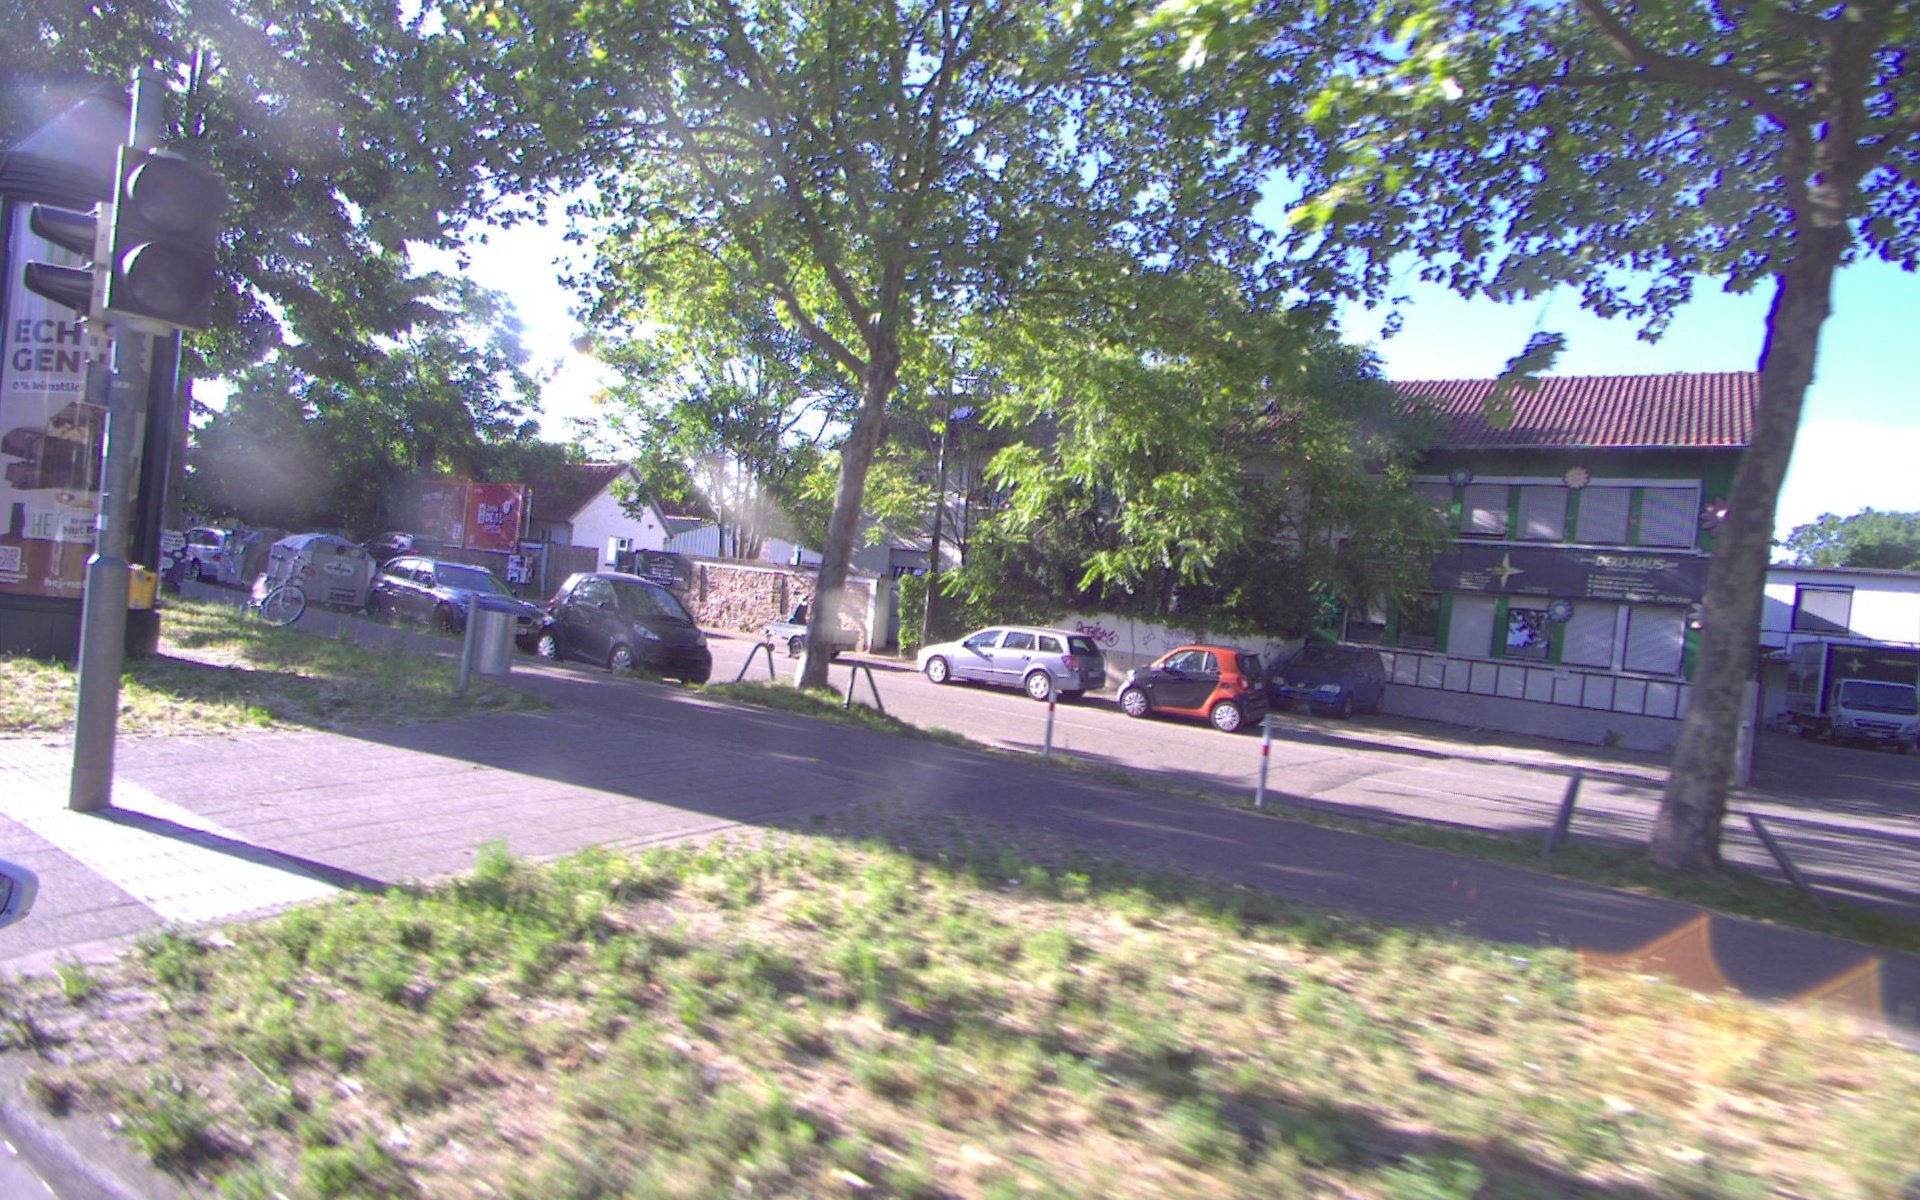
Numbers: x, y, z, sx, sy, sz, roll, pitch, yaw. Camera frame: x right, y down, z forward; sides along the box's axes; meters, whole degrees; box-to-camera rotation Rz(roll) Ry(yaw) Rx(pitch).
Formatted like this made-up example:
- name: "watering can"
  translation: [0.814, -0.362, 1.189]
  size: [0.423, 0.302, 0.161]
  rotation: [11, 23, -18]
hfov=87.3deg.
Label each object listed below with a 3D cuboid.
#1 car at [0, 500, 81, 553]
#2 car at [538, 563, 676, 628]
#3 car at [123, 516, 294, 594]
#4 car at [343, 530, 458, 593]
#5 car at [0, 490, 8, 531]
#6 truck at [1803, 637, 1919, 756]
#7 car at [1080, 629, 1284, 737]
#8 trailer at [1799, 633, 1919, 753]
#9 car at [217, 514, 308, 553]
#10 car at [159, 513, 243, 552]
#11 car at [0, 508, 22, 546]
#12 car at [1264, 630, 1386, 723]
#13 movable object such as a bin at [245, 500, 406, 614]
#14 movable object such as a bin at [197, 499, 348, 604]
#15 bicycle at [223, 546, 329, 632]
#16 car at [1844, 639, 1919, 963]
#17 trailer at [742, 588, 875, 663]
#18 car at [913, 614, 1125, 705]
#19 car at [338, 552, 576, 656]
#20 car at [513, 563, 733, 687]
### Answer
- name: "car"
  translation: [-32.911, -2.632, 35.147]
  size: [4.821, 1.450, 1.875]
  rotation: [6, -2, 32]
- name: "car"
  translation: [-11.019, -0.158, 31.376]
  size: [3.935, 1.661, 1.993]
  rotation: [5, 2, 33]
- name: "car"
  translation: [-20.175, -1.218, 26.948]
  size: [4.973, 1.542, 1.875]
  rotation: [6, -2, 32]
- name: "car"
  translation: [-21.716, -1.496, 38.980]
  size: [4.615, 2.028, 1.871]
  rotation: [5, 1, 33]
- name: "car"
  translation: [-42.903, -4.066, 43.169]
  size: [3.934, 1.703, 1.875]
  rotation: [6, -2, 32]
- name: "truck"
  translation: [28.873, 3.076, 32.070]
  size: [2.675, 3.307, 2.482]
  rotation: [7, -1, 39]
- name: "car"
  translation: [4.427, 1.561, 20.112]
  size: [3.422, 1.629, 1.993]
  rotation: [6, 3, 32]
- name: "trailer"
  translation: [32.280, 3.496, 36.340]
  size: [2.646, 3.604, 8.785]
  rotation: [5, -3, 39]
- name: "car"
  translation: [-32.980, -3.152, 47.551]
  size: [4.615, 1.502, 1.871]
  rotation: [5, 1, 33]
- name: "car"
  translation: [-38.249, -3.431, 50.662]
  size: [4.615, 1.566, 1.872]
  rotation: [5, 0, 33]
- name: "car"
  translation: [-39.151, -3.074, 39.834]
  size: [3.934, 1.383, 1.875]
  rotation: [6, -3, 32]
- name: "car"
  translation: [8.882, 1.901, 24.252]
  size: [1.819, 1.871, 4.091]
  rotation: [6, -3, 32]
- name: "movable object such as a bin"
  translation: [-13.525, -0.908, 21.466]
  size: [2.103, 2.037, 2.083]
  rotation: [5, -2, 35]
- name: "movable object such as a bin"
  translation: [-15.735, -1.101, 23.048]
  size: [2.103, 2.037, 2.083]
  rotation: [5, -2, 35]
- name: "bicycle"
  translation: [-9.899, -0.171, 14.541]
  size: [1.873, 1.058, 0.493]
  rotation: [5, -2, 33]
- name: "car"
  translation: [8.904, 1.534, 5.473]
  size: [5.726, 2.037, 2.193]
  rotation: [5, -2, 33]
- name: "trailer"
  translation: [-3.963, 0.653, 26.267]
  size: [2.976, 1.662, 1.729]
  rotation: [5, 1, 36]
- name: "car"
  translation: [1.267, 1.285, 22.466]
  size: [4.258, 1.502, 1.992]
  rotation: [5, 0, 36]
- name: "car"
  translation: [-9.420, 0.039, 18.691]
  size: [4.674, 1.400, 2.000]
  rotation: [5, -3, 37]
- name: "car"
  translation: [-5.237, 0.376, 15.601]
  size: [2.942, 1.518, 1.664]
  rotation: [5, -2, 34]
